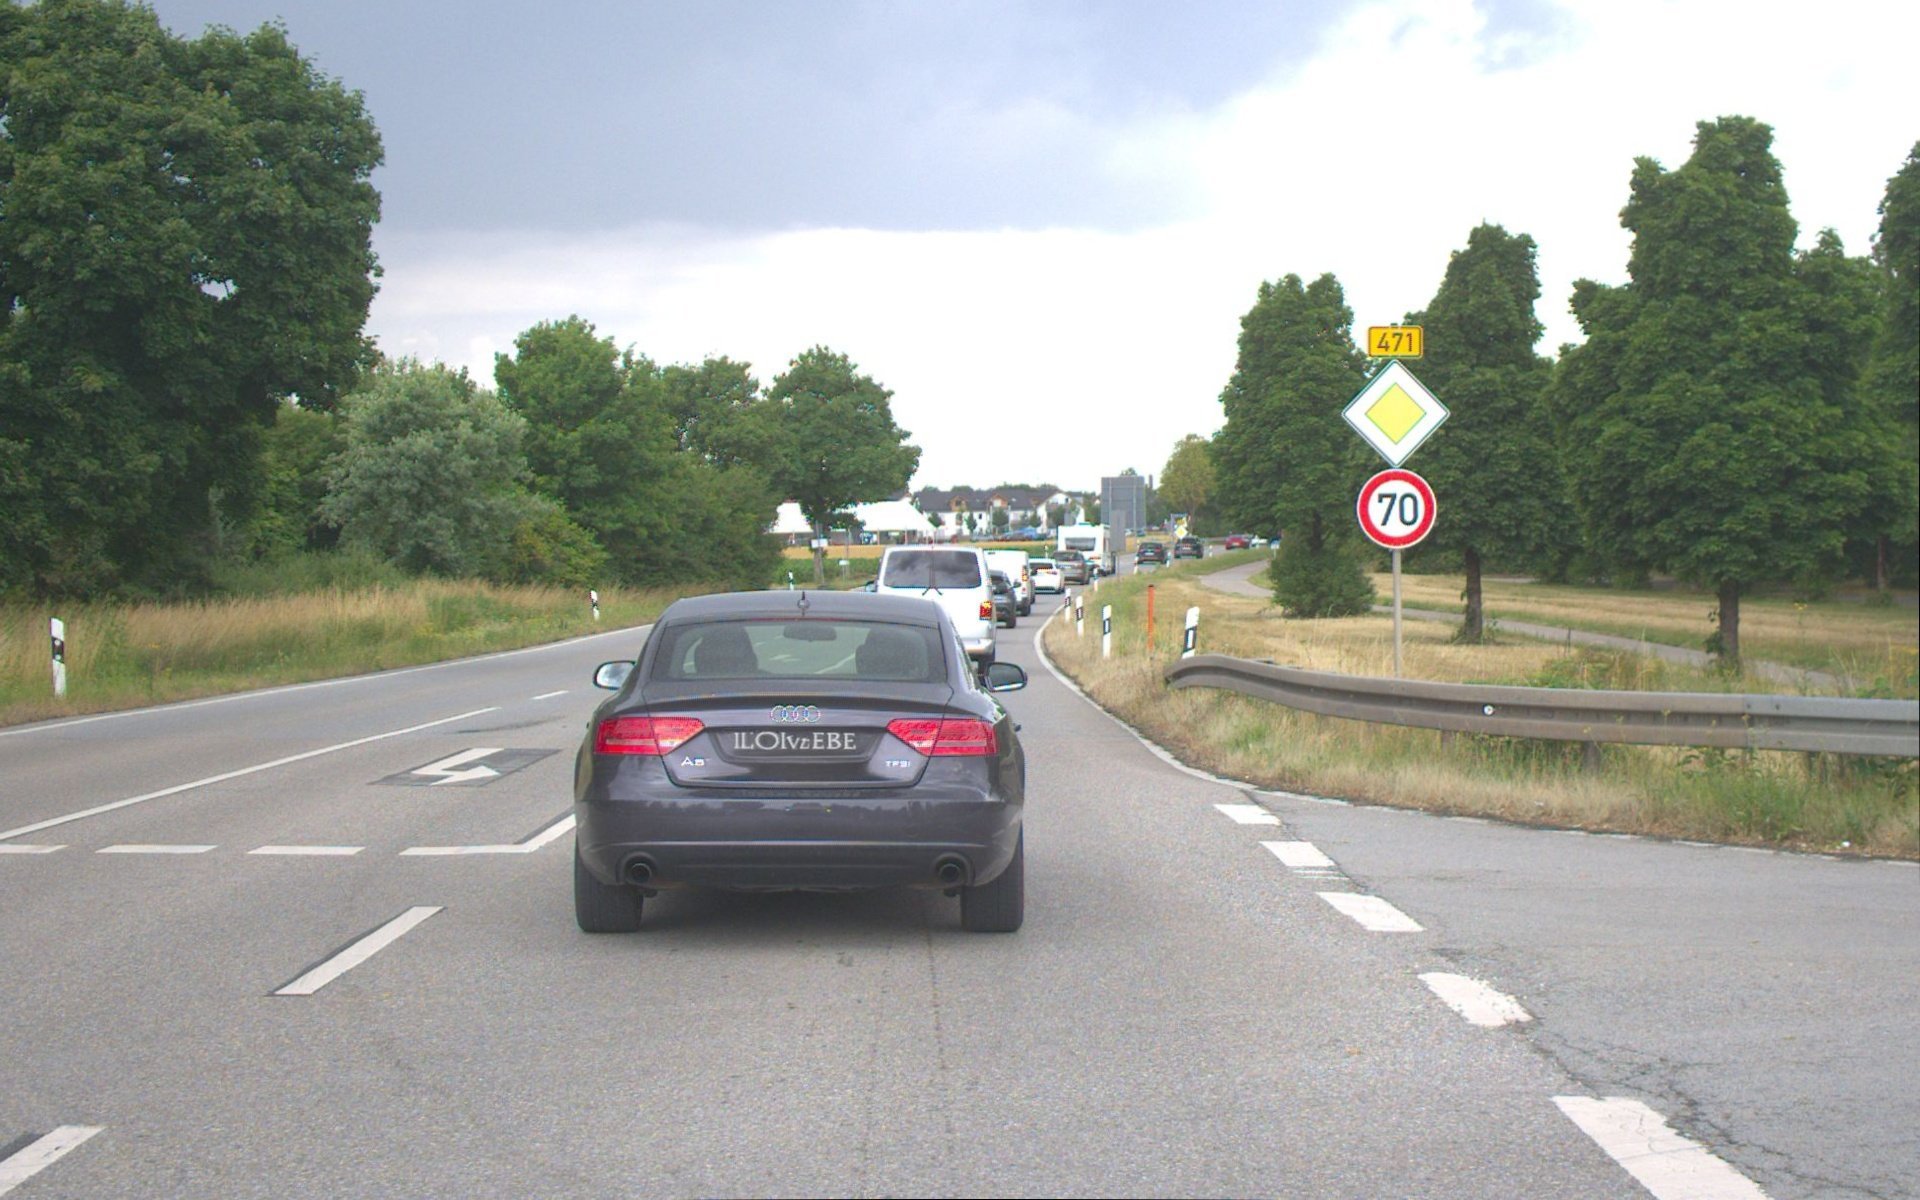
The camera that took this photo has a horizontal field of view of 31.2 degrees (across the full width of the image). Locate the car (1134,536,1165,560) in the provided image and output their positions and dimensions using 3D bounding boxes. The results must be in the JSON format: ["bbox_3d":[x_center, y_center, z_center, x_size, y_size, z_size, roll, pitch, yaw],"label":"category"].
[{"bbox_3d":[11.883,-3.282,216.059,1.719,1.446,4.000,1,1,0],"label":"car"}]

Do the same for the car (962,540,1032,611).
[{"bbox_3d":[1.139,-0.749,103.597,1.993,2.081,4.000,0,1,2],"label":"car"}]

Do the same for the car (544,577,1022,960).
[{"bbox_3d":[-0.691,0.622,14.939,1.783,1.372,4.000,1,1,-1],"label":"car"}]

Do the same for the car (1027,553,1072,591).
[{"bbox_3d":[3.578,-1.122,137.956,1.735,1.509,3.746,0,1,1],"label":"car"}]

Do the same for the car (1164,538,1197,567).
[{"bbox_3d":[15.431,-3.338,241.098,1.993,2.007,4.000,0,1,-1],"label":"car"}]

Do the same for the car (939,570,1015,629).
[{"bbox_3d":[0.447,-0.024,88.067,1.796,1.459,3.248,0,1,3],"label":"car"}]

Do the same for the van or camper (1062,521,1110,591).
[{"bbox_3d":[6.338,-2.198,173.473,2.340,3.469,5.718,0,1,1],"label":"van or camper"}]

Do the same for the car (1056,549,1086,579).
[{"bbox_3d":[4.979,-1.610,154.424,1.258,1.349,3.466,0,1,0],"label":"car"}]

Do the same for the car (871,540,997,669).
[{"bbox_3d":[-0.411,0.032,52.662,1.838,1.876,4.000,1,1,-1],"label":"car"}]
